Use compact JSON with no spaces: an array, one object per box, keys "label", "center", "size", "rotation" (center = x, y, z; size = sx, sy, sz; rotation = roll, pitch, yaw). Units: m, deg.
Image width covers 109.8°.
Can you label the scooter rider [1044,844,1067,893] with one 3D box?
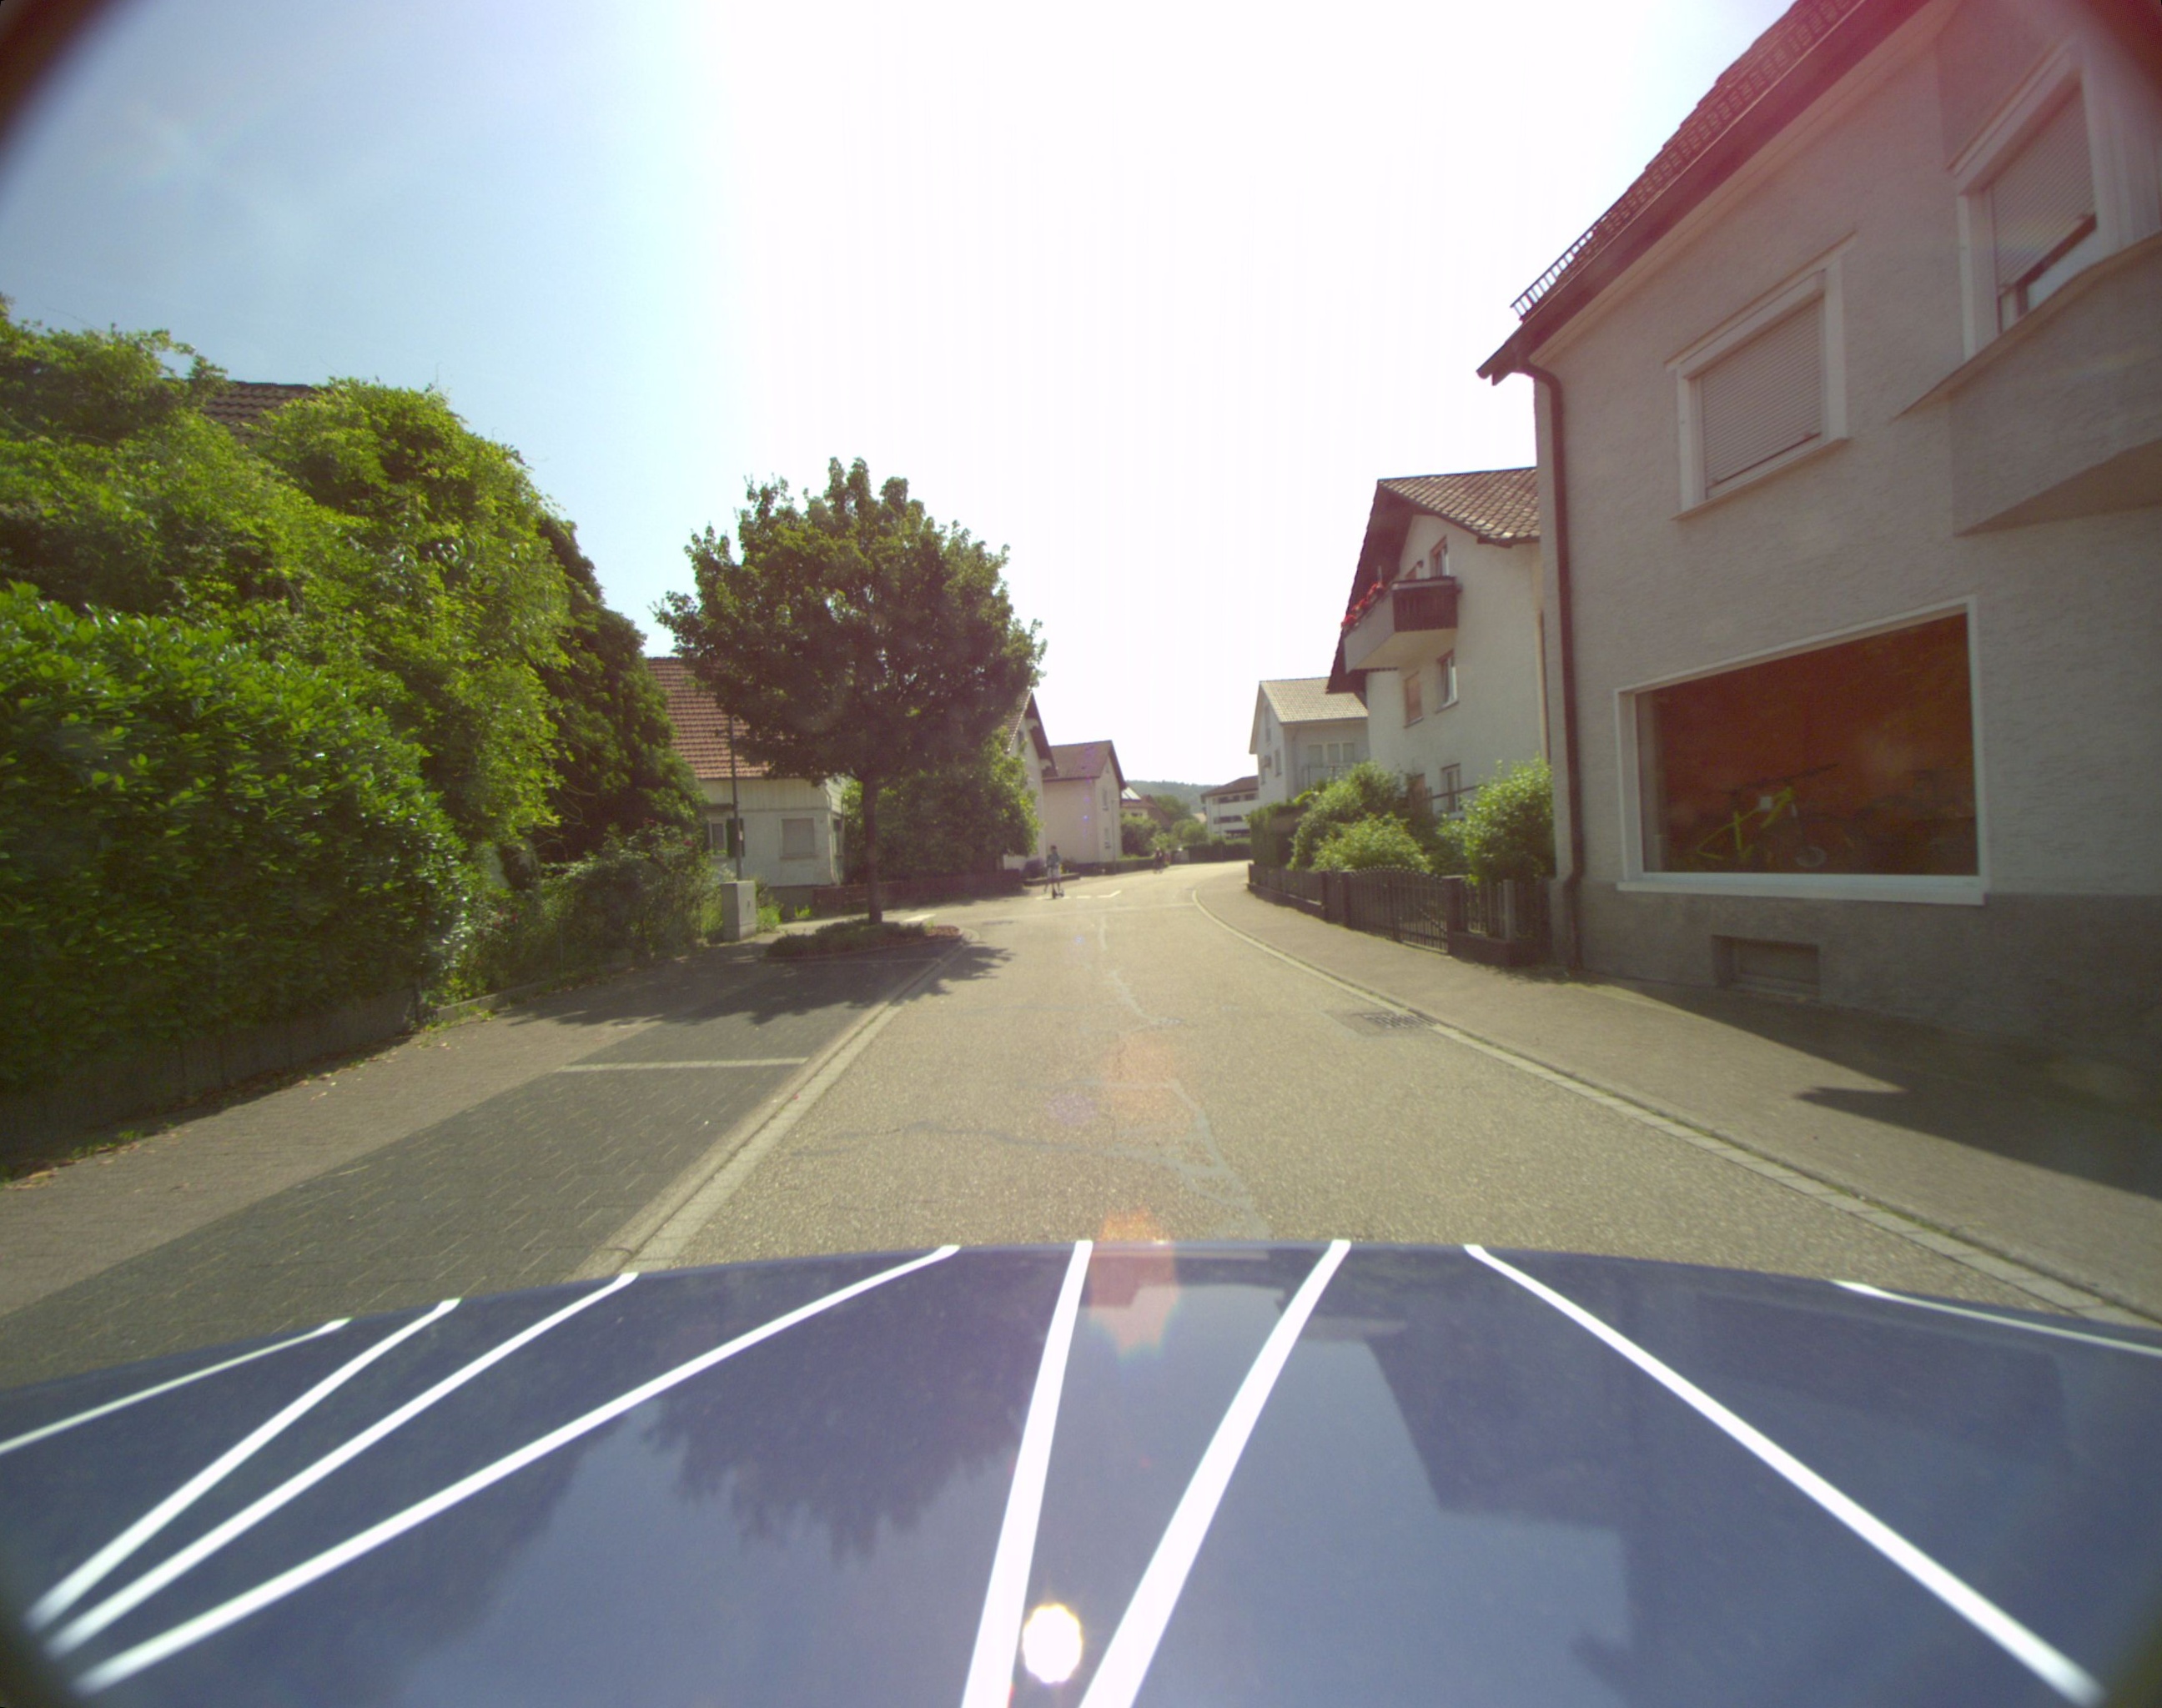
[{"label":"scooter rider","center":[-0.910,0.521,27.490],"size":[0.616,1.714,0.641],"rotation":[-2,1,12]}]

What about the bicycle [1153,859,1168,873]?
[{"label":"bicycle","center":[5.317,0.791,50.888],"size":[0.520,0.899,1.315],"rotation":[-2,1,27]}]

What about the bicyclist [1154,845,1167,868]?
[{"label":"bicyclist","center":[5.343,0.181,50.985],"size":[0.546,1.481,0.798],"rotation":[-2,1,28]}]

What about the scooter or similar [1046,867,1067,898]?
[{"label":"scooter or similar","center":[-0.891,1.027,27.498],"size":[0.542,1.083,0.692],"rotation":[-3,1,12]}]
